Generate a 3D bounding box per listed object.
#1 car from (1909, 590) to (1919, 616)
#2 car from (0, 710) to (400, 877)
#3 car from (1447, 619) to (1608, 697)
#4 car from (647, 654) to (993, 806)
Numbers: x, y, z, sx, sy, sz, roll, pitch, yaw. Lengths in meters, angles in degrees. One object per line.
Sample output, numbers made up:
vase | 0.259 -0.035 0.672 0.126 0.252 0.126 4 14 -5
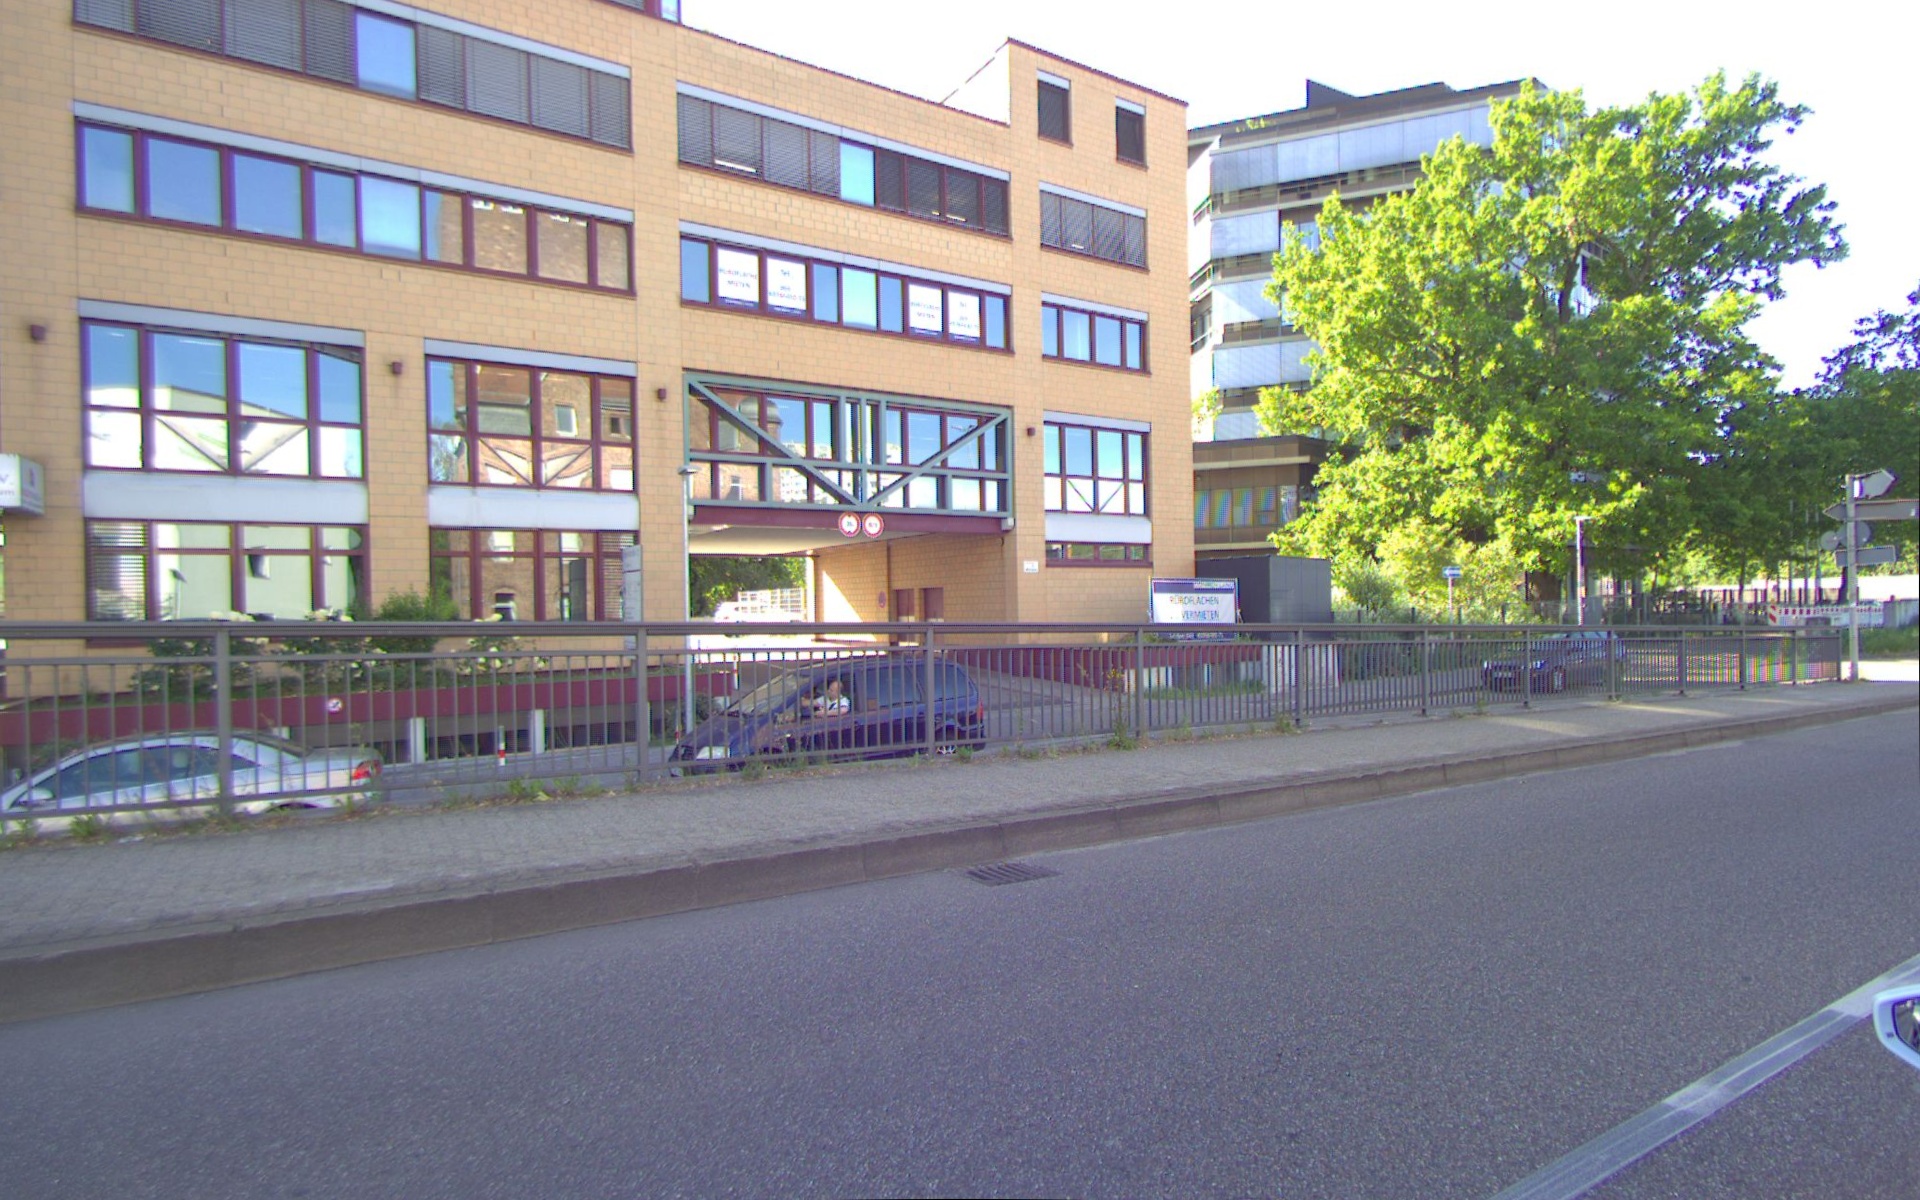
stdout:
car | 63.163 0.182 63.685 1.853 1.651 4.411 -1 -1 0
car | -8.104 1.880 10.141 4.211 1.181 1.712 0 -2 -32
car | 14.325 1.395 25.324 3.953 1.715 1.842 -1 0 -31
car | -1.856 1.663 14.087 4.542 1.669 1.710 0 -2 -36
